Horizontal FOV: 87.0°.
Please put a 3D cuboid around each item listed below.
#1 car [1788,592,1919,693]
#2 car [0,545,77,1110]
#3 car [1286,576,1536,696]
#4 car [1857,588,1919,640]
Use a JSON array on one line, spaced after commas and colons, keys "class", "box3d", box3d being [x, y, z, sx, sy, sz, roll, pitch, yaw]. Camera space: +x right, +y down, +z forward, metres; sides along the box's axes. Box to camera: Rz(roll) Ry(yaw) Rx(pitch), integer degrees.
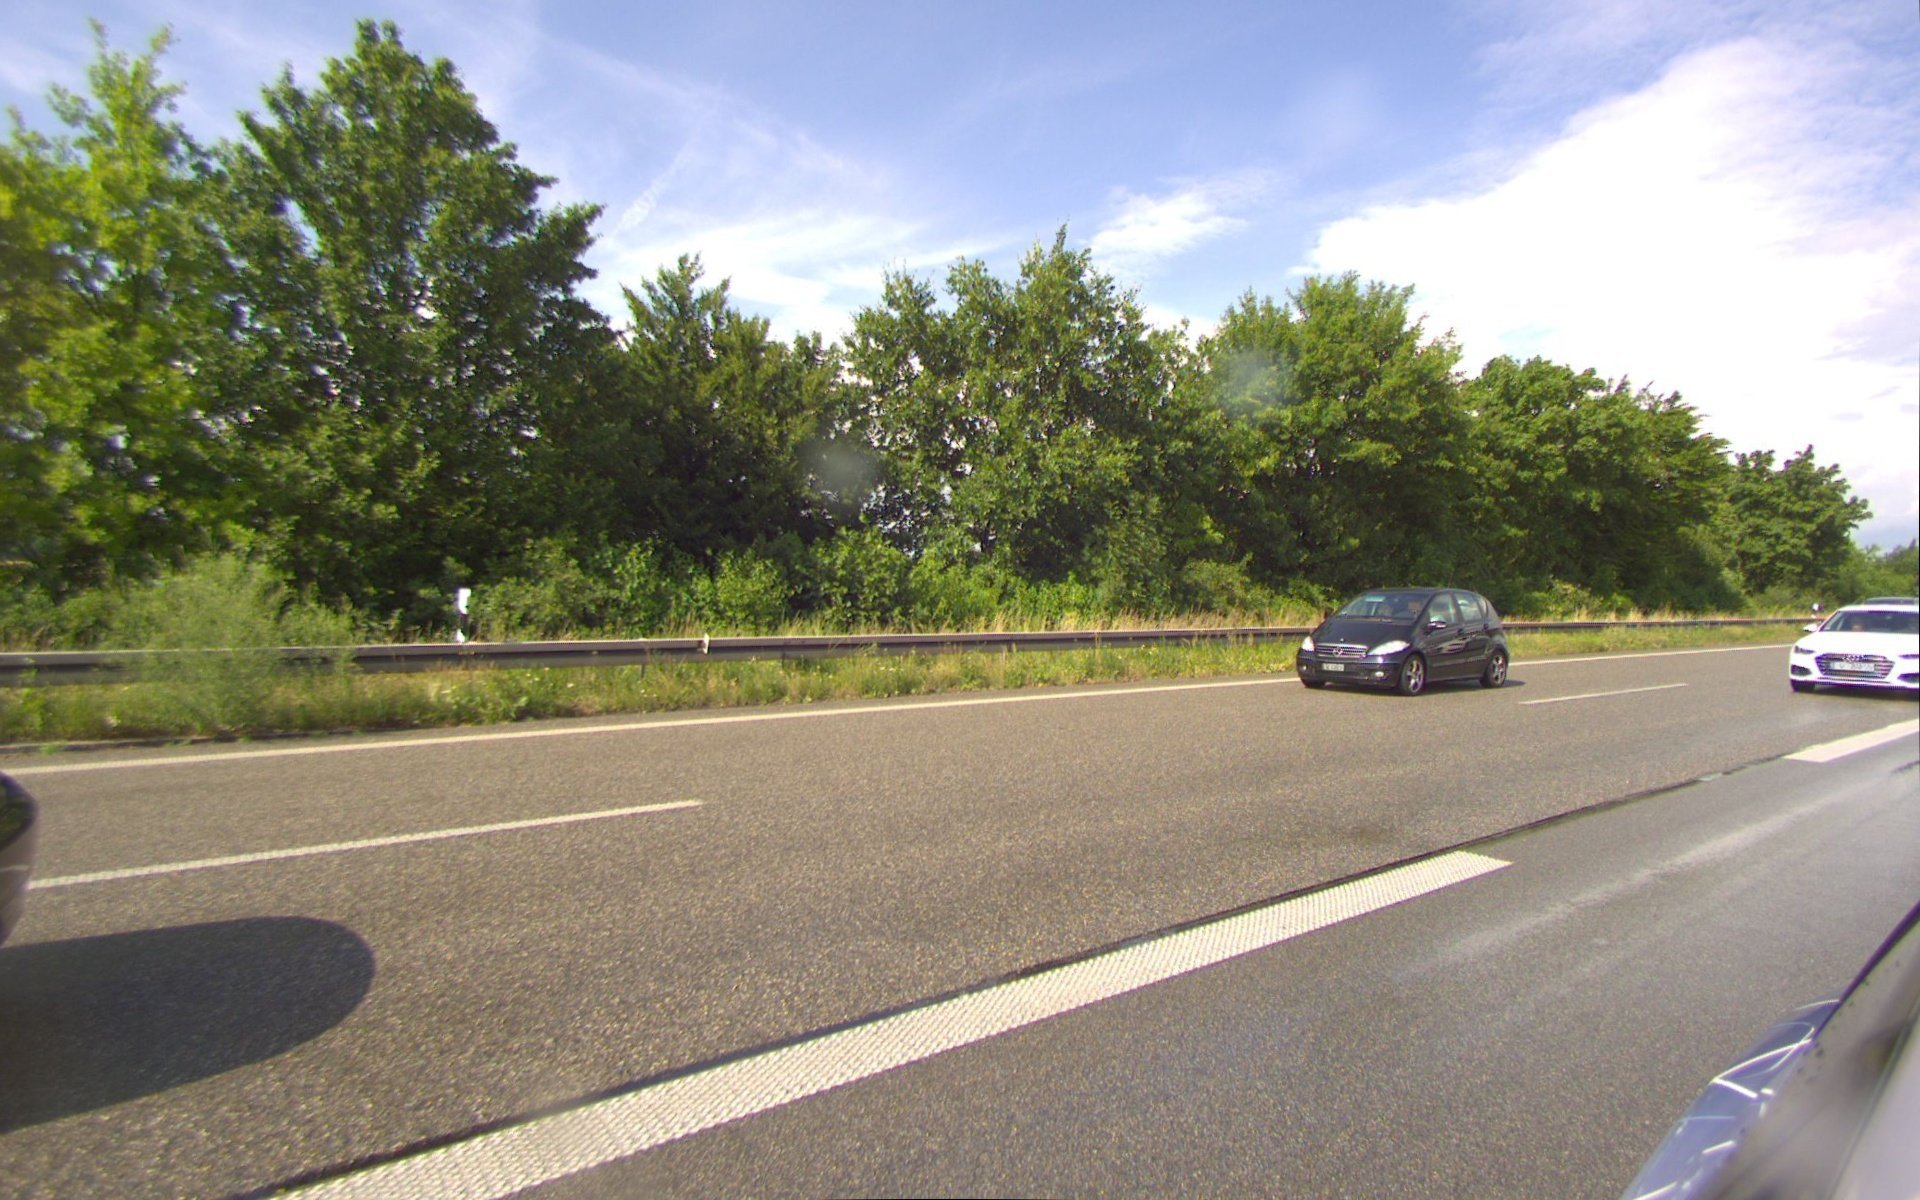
[{"class": "car", "box3d": [15.311, 0.605, 16.442, 4.426, 1.443, 1.832, 0, 1, -36]}, {"class": "car", "box3d": [-4.640, 0.581, 2.024, 4.176, 1.482, 1.854, 0, 2, -37]}, {"class": "car", "box3d": [7.036, 0.462, 15.656, 3.926, 1.588, 1.854, 0, 2, -37]}, {"class": "car", "box3d": [31.608, 0.431, 33.683, 4.283, 1.641, 1.826, 0, 0, -37]}]
